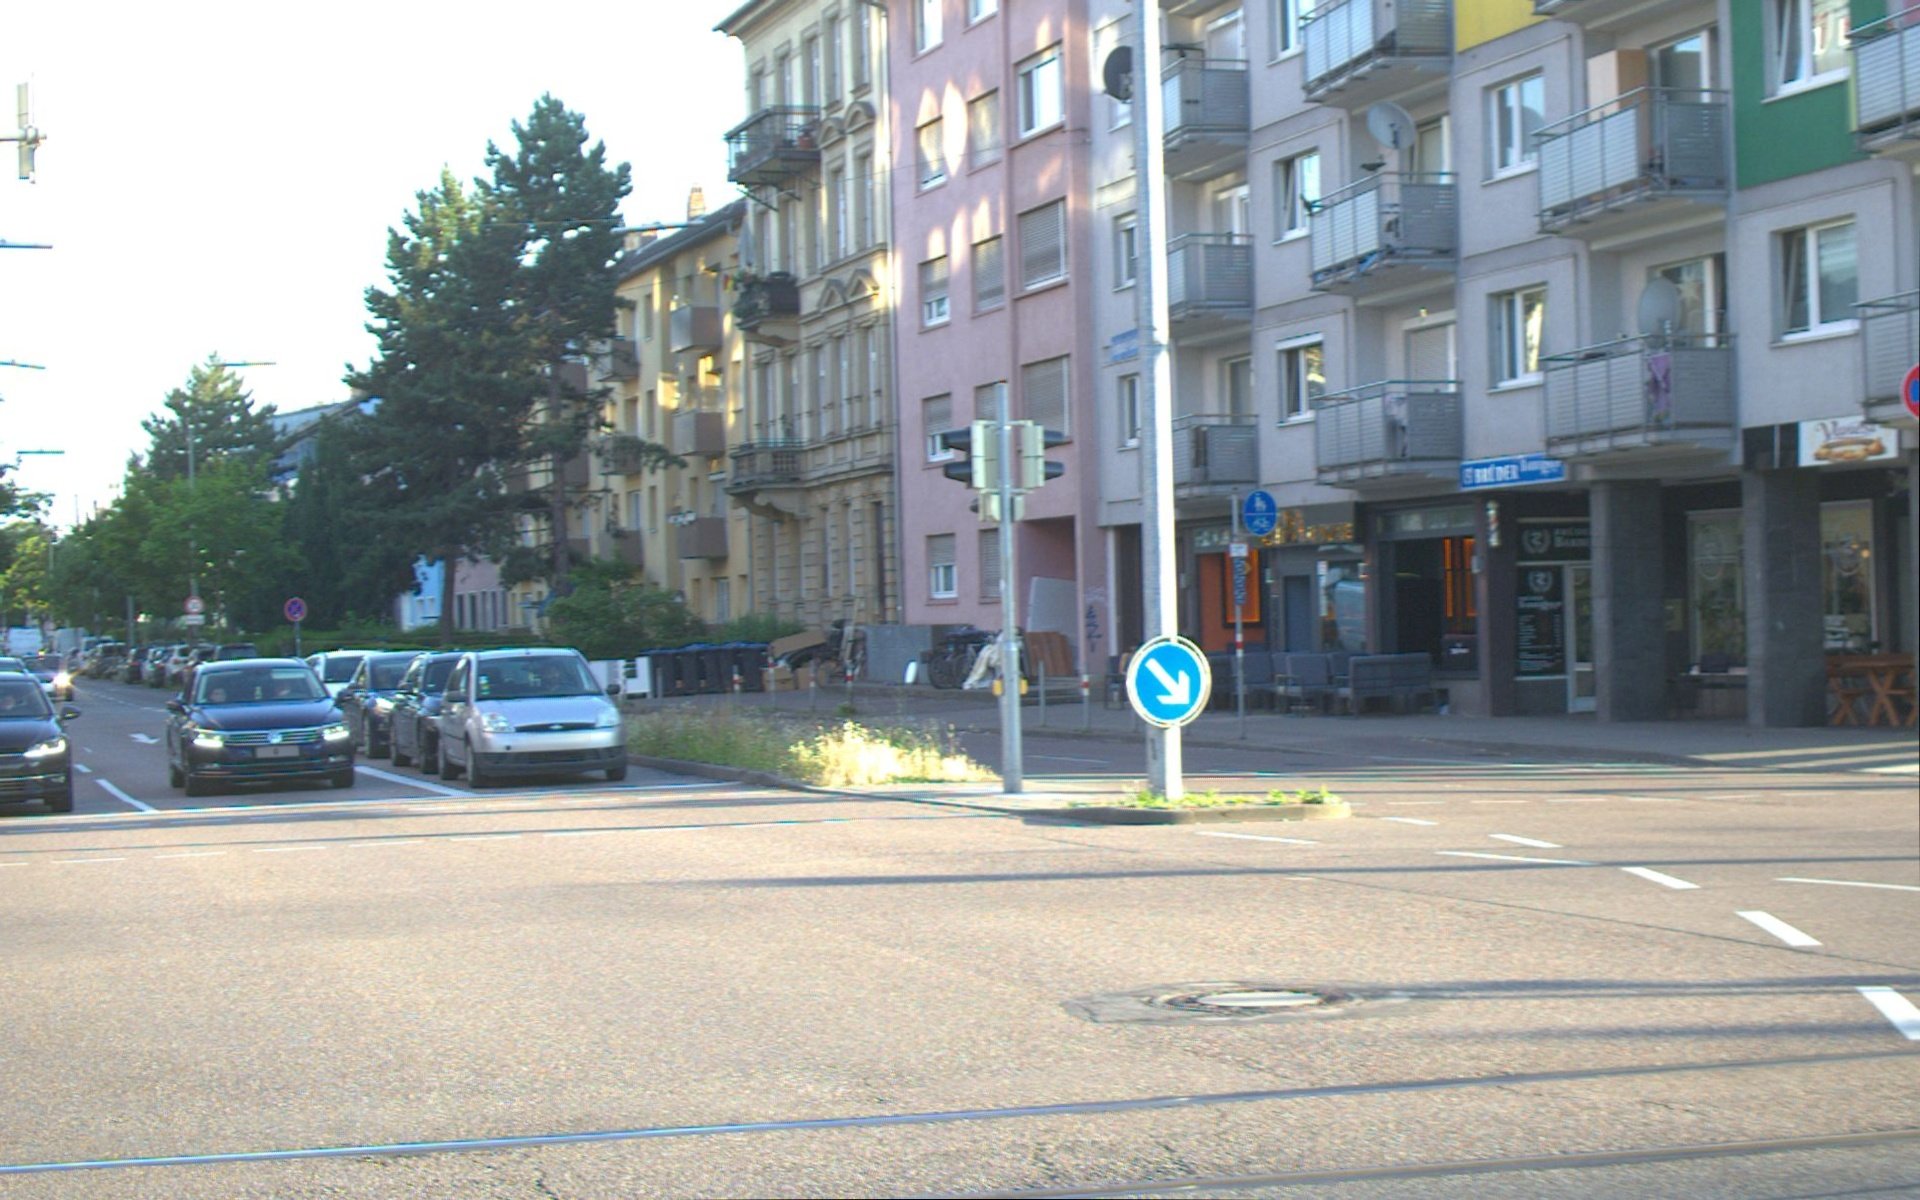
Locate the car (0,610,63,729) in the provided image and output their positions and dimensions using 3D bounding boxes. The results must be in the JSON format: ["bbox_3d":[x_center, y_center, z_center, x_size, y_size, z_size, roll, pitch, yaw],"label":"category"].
[{"bbox_3d":[-13.379,0.947,47.071,1.993,1.526,4.001,-2,1,-16],"label":"car"}]

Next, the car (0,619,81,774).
[{"bbox_3d":[-10.077,0.973,35.439,1.880,1.481,4.001,-2,0,-14],"label":"car"}]

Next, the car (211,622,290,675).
[{"bbox_3d":[-21.738,1.479,105.214,1.993,1.512,4.221,-2,0,-16],"label":"car"}]

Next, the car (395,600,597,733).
[{"bbox_3d":[-5.750,0.781,42.224,1.993,1.481,4.001,-2,0,-14],"label":"car"}]

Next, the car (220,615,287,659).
[{"bbox_3d":[-25.863,1.355,125.800,1.993,1.512,4.221,-2,0,-16],"label":"car"}]

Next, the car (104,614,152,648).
[{"bbox_3d":[-39.528,1.483,163.263,1.993,1.512,4.221,-2,0,-16],"label":"car"}]

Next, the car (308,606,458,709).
[{"bbox_3d":[-9.114,0.872,54.084,1.993,1.481,4.001,-2,0,-14],"label":"car"}]

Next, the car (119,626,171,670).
[{"bbox_3d":[-36.106,2.118,152.265,1.993,1.827,4.221,-2,0,-16],"label":"car"}]

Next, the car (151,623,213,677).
[{"bbox_3d":[-30.182,1.914,133.334,1.993,1.990,4.221,-2,0,-16],"label":"car"}]

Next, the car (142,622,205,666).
[{"bbox_3d":[-29.415,1.635,128.538,1.993,1.512,4.221,-2,0,-16],"label":"car"}]

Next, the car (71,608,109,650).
[{"bbox_3d":[-51.548,1.694,203.653,1.993,2.368,4.001,-2,0,-16],"label":"car"}]

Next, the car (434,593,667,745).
[{"bbox_3d":[-4.514,0.707,37.424,1.993,1.481,4.001,-2,1,-14],"label":"car"}]

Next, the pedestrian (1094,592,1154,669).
[{"bbox_3d":[2.768,0.515,57.925,0.710,1.252,0.793,-2,0,-20],"label":"pedestrian"}]

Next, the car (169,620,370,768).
[{"bbox_3d":[-7.810,1.008,38.632,1.993,1.481,4.001,-2,0,-14],"label":"car"}]

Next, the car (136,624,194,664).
[{"bbox_3d":[-32.571,1.790,140.808,1.993,1.512,4.221,-2,0,-16],"label":"car"}]

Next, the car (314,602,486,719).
[{"bbox_3d":[-7.828,0.811,47.776,1.993,1.481,4.001,-2,0,-14],"label":"car"}]

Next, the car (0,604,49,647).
[{"bbox_3d":[-54.466,1.464,200.004,2.616,2.368,5.257,-2,0,-16],"label":"car"}]
